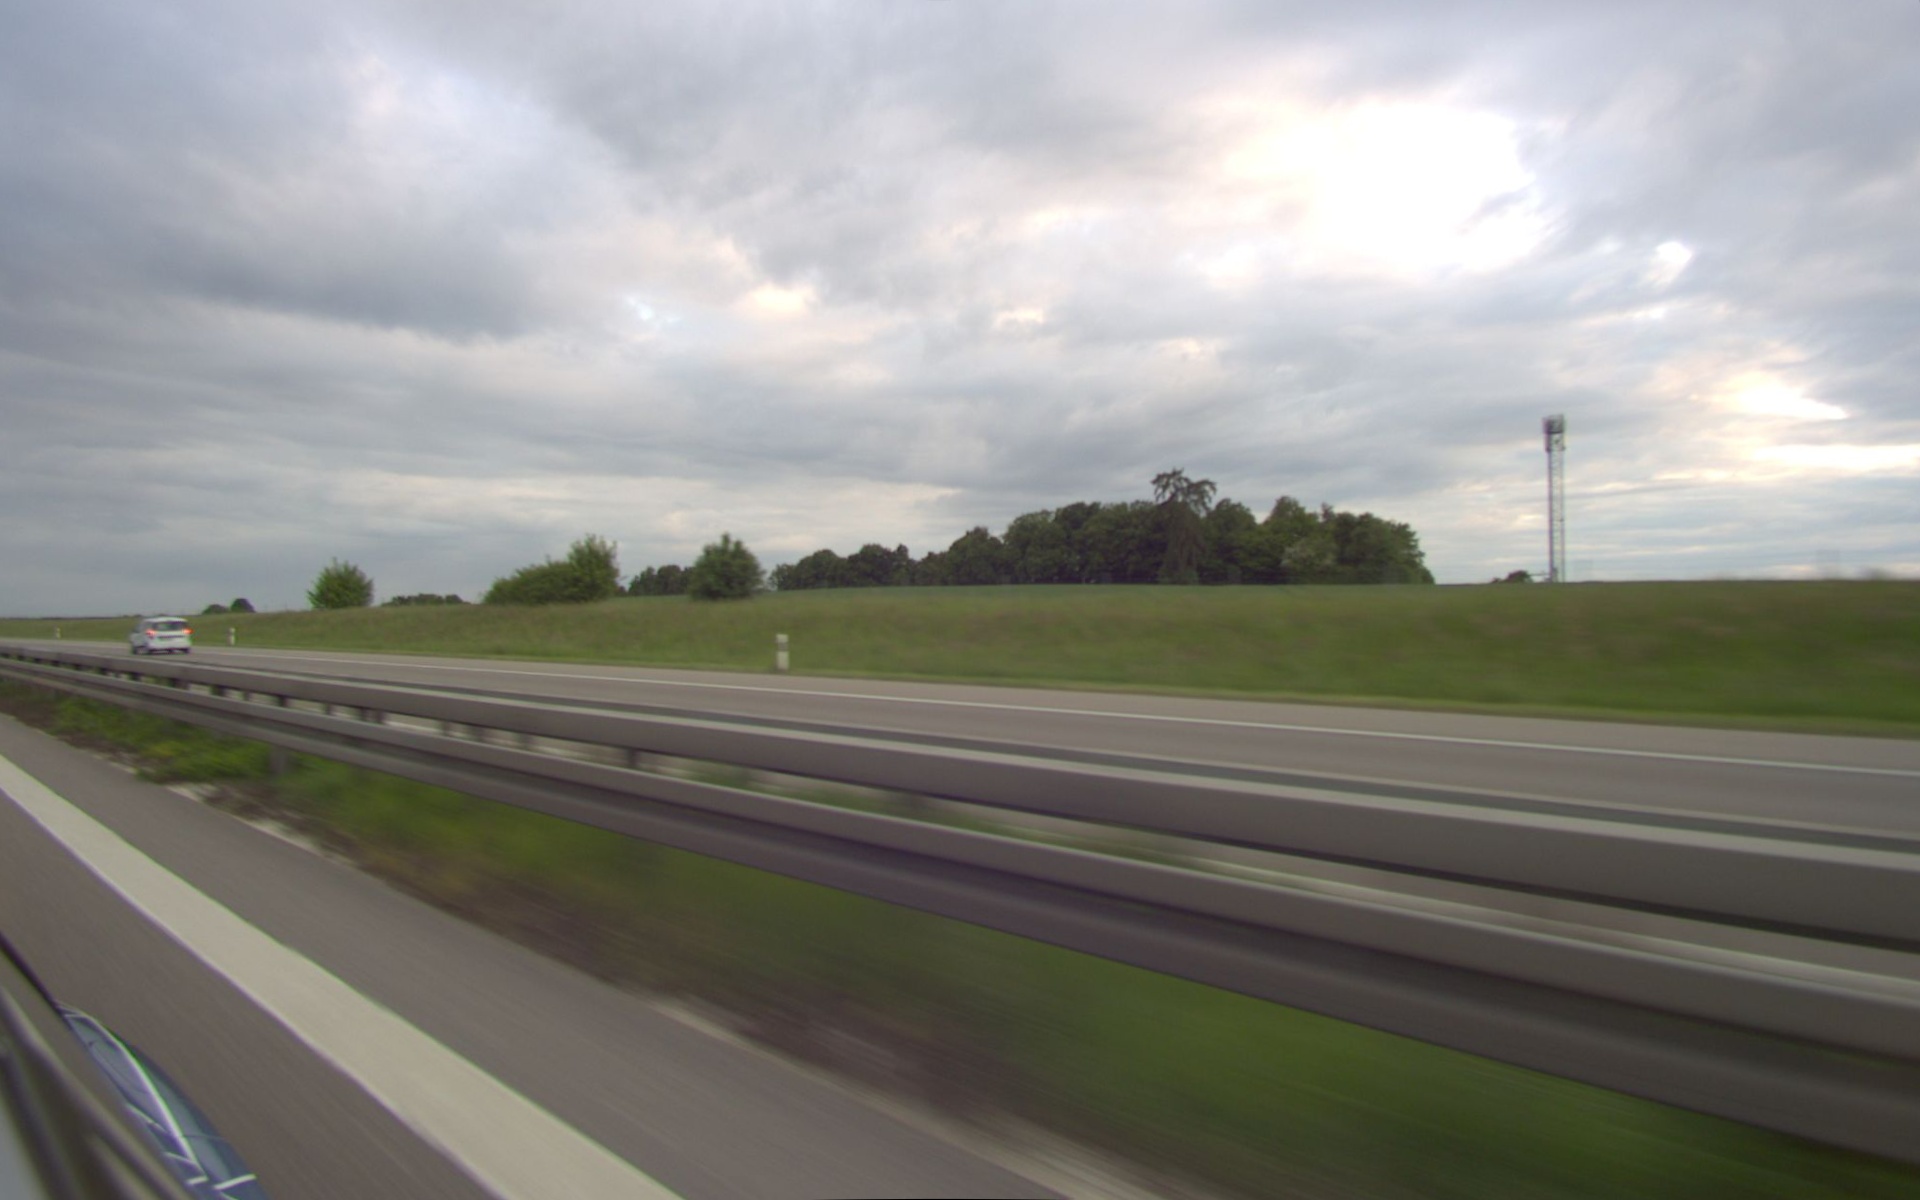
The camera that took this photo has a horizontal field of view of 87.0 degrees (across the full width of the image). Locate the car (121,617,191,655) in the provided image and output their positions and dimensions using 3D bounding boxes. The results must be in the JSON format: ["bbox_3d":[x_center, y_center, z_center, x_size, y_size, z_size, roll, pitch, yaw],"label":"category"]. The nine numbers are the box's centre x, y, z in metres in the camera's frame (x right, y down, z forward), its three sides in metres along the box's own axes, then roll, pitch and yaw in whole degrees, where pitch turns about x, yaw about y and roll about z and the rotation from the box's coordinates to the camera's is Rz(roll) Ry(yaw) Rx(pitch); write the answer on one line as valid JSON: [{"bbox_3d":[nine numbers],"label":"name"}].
[{"bbox_3d":[-40.035,1.763,50.350,4.990,1.816,1.742,-1,-2,40],"label":"car"}]
